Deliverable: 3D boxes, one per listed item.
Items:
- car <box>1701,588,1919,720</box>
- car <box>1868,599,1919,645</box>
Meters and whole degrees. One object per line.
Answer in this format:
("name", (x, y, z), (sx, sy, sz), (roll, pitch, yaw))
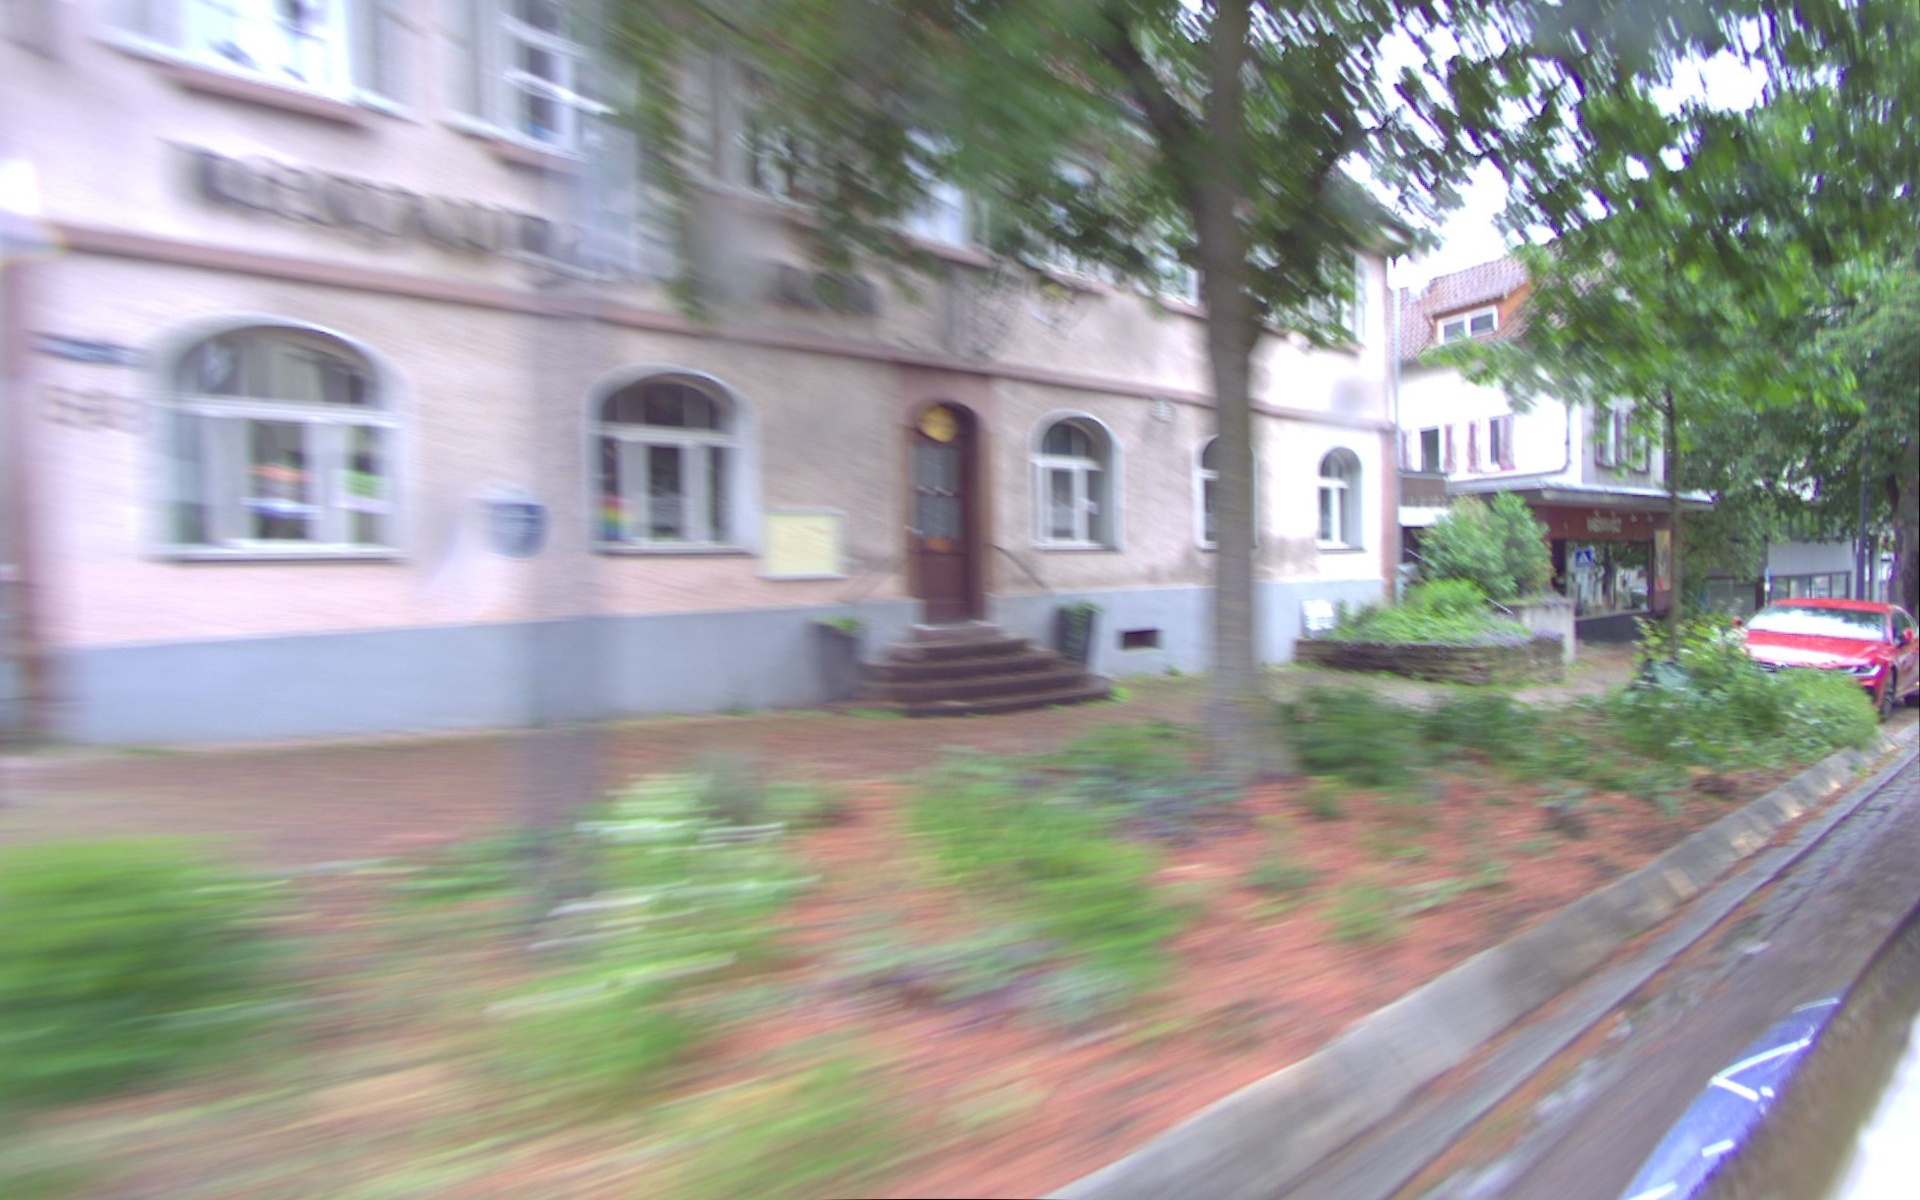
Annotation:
("car", (12.072, 0.620, 13.878), (4.736, 1.487, 1.897), (0, 1, -39))
("car", (32.073, 0.704, 32.426), (1.798, 1.478, 4.265), (1, 0, -42))
